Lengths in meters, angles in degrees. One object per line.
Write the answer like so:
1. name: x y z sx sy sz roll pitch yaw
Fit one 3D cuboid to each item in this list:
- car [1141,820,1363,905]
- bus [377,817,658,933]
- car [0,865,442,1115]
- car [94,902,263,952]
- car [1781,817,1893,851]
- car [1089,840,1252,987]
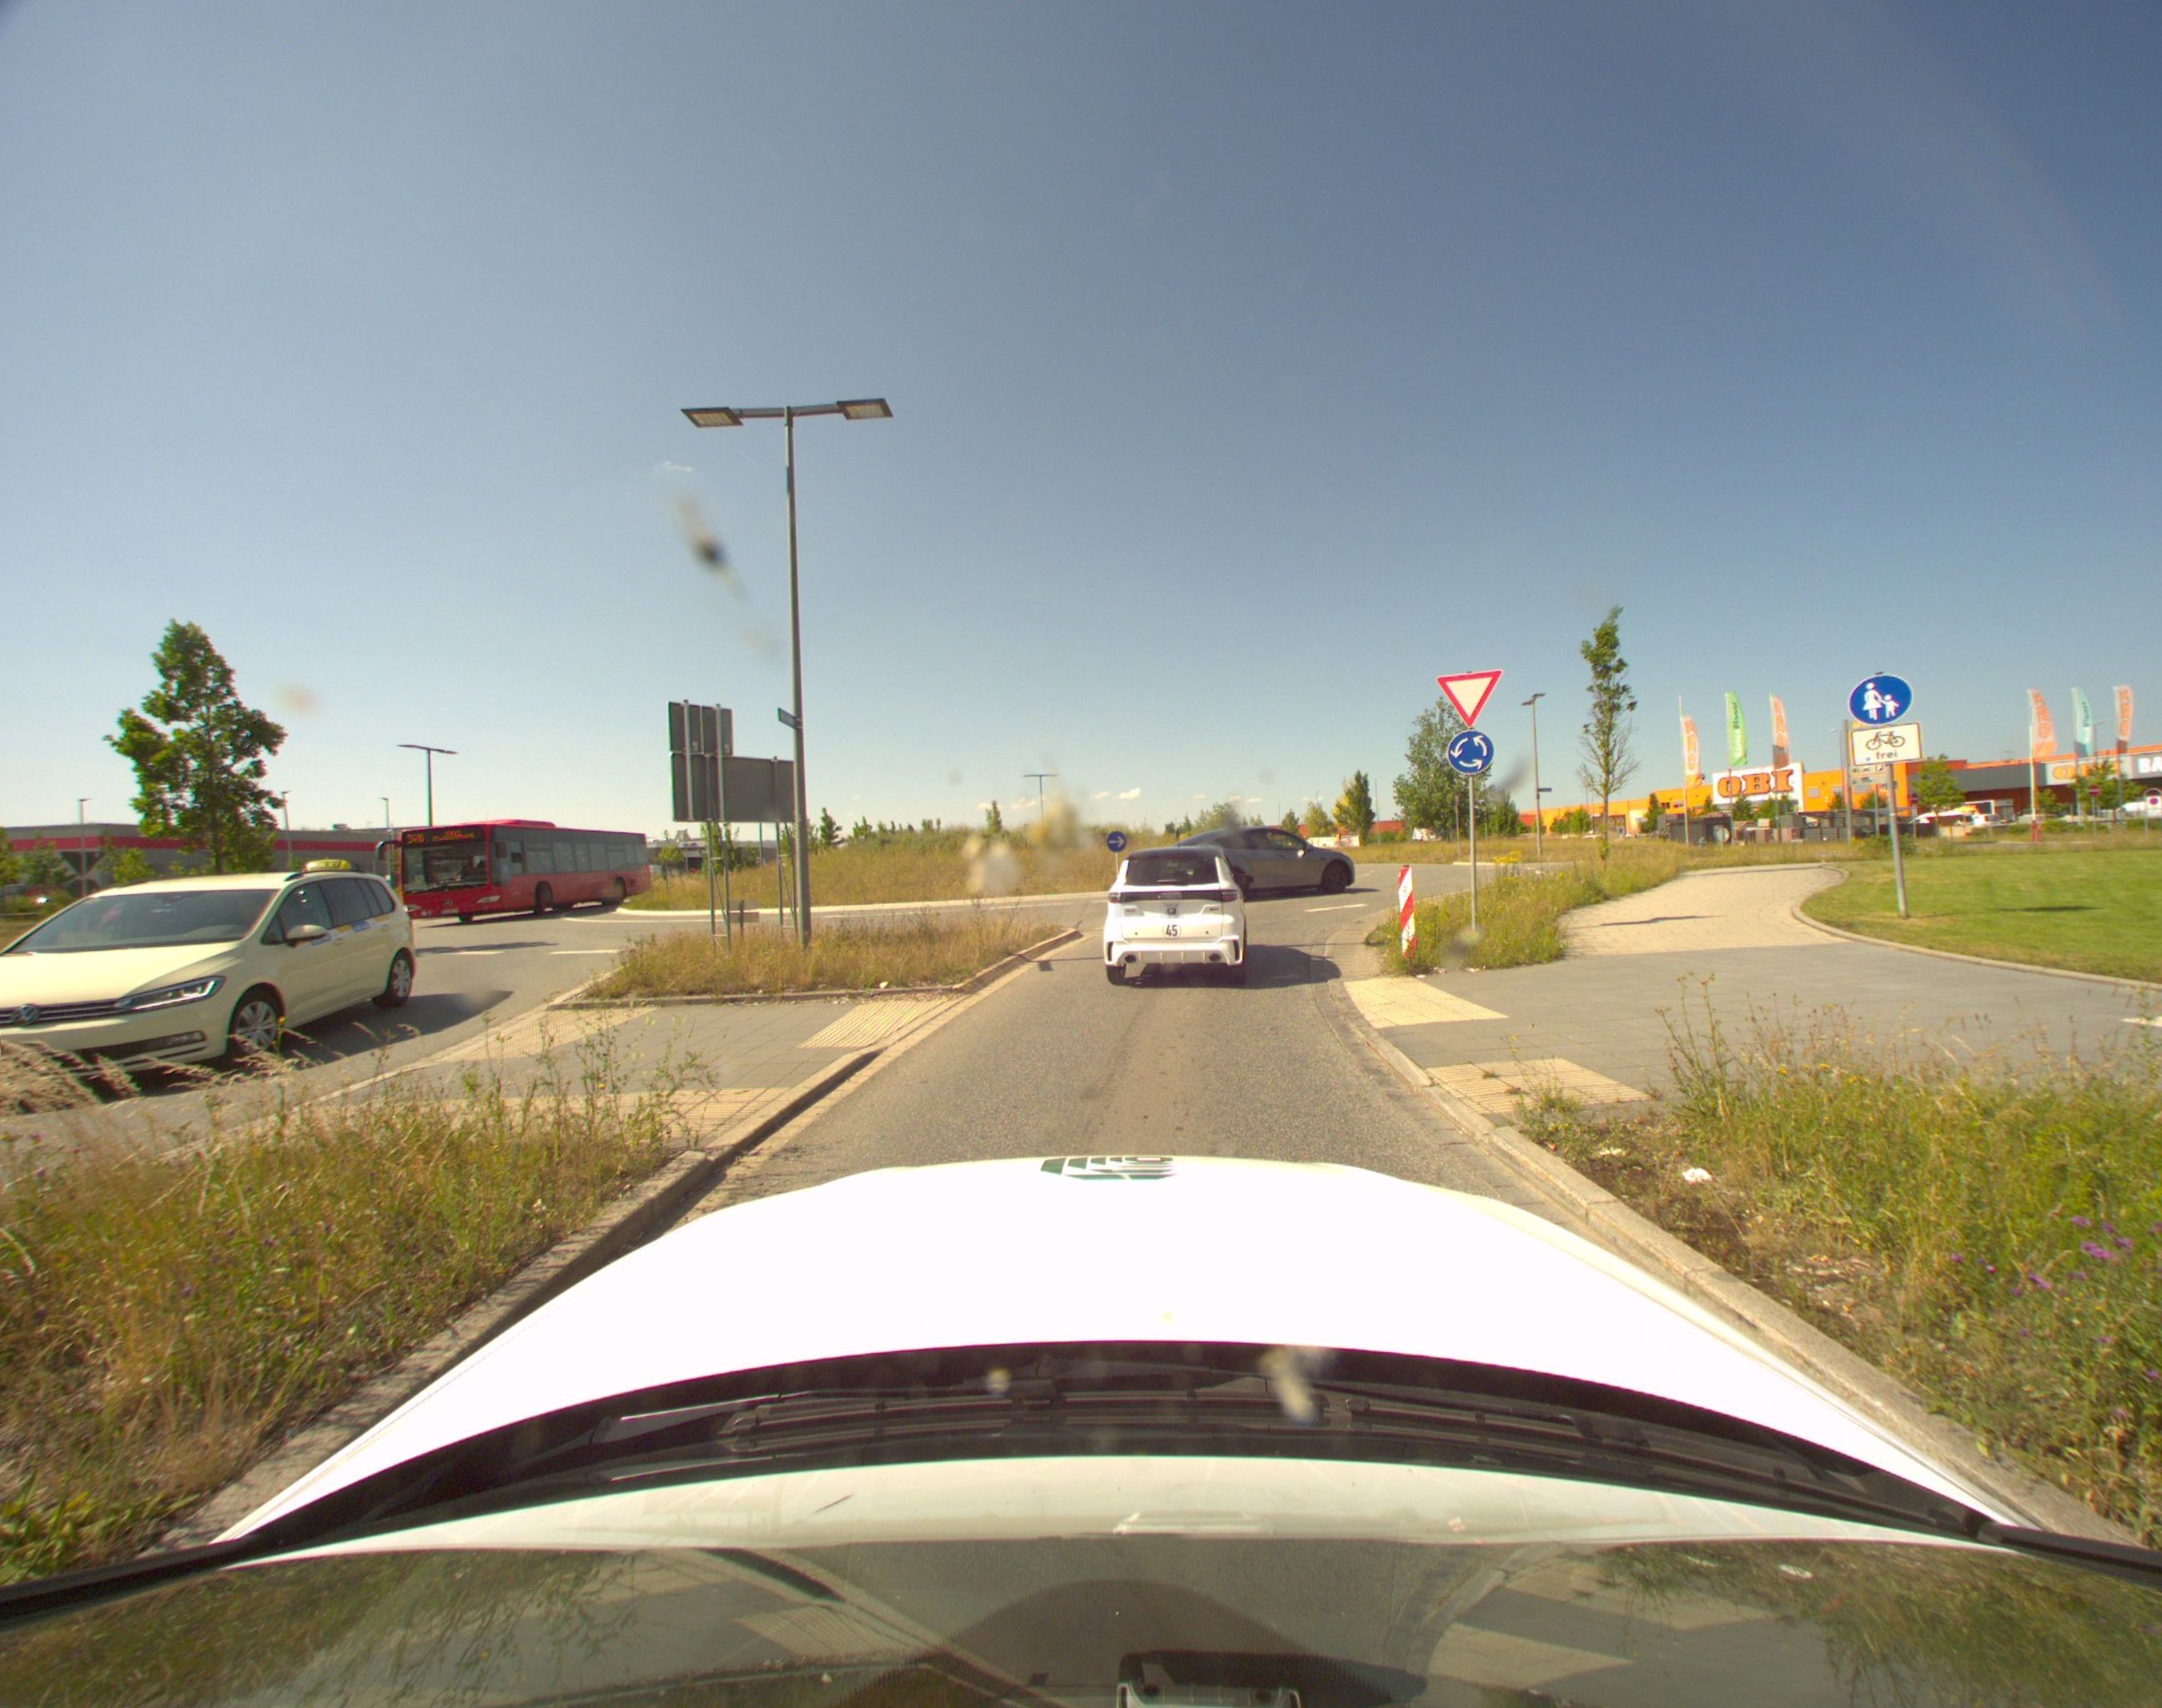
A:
1. car: 3.906 0.137 18.634 4.625 1.626 1.950 -3 1 -20
2. bus: -19.091 0.551 29.126 2.785 3.079 12.171 -4 1 -7
3. car: -8.256 1.019 7.913 1.848 1.665 4.557 -4 1 -21
4. car: -30.079 2.420 27.191 3.970 1.387 1.574 -3 -1 3
5. car: 38.485 -0.990 41.510 3.976 1.459 1.855 -3 -1 -2
6. car: 1.275 0.592 10.213 1.606 1.434 3.805 -2 1 11
